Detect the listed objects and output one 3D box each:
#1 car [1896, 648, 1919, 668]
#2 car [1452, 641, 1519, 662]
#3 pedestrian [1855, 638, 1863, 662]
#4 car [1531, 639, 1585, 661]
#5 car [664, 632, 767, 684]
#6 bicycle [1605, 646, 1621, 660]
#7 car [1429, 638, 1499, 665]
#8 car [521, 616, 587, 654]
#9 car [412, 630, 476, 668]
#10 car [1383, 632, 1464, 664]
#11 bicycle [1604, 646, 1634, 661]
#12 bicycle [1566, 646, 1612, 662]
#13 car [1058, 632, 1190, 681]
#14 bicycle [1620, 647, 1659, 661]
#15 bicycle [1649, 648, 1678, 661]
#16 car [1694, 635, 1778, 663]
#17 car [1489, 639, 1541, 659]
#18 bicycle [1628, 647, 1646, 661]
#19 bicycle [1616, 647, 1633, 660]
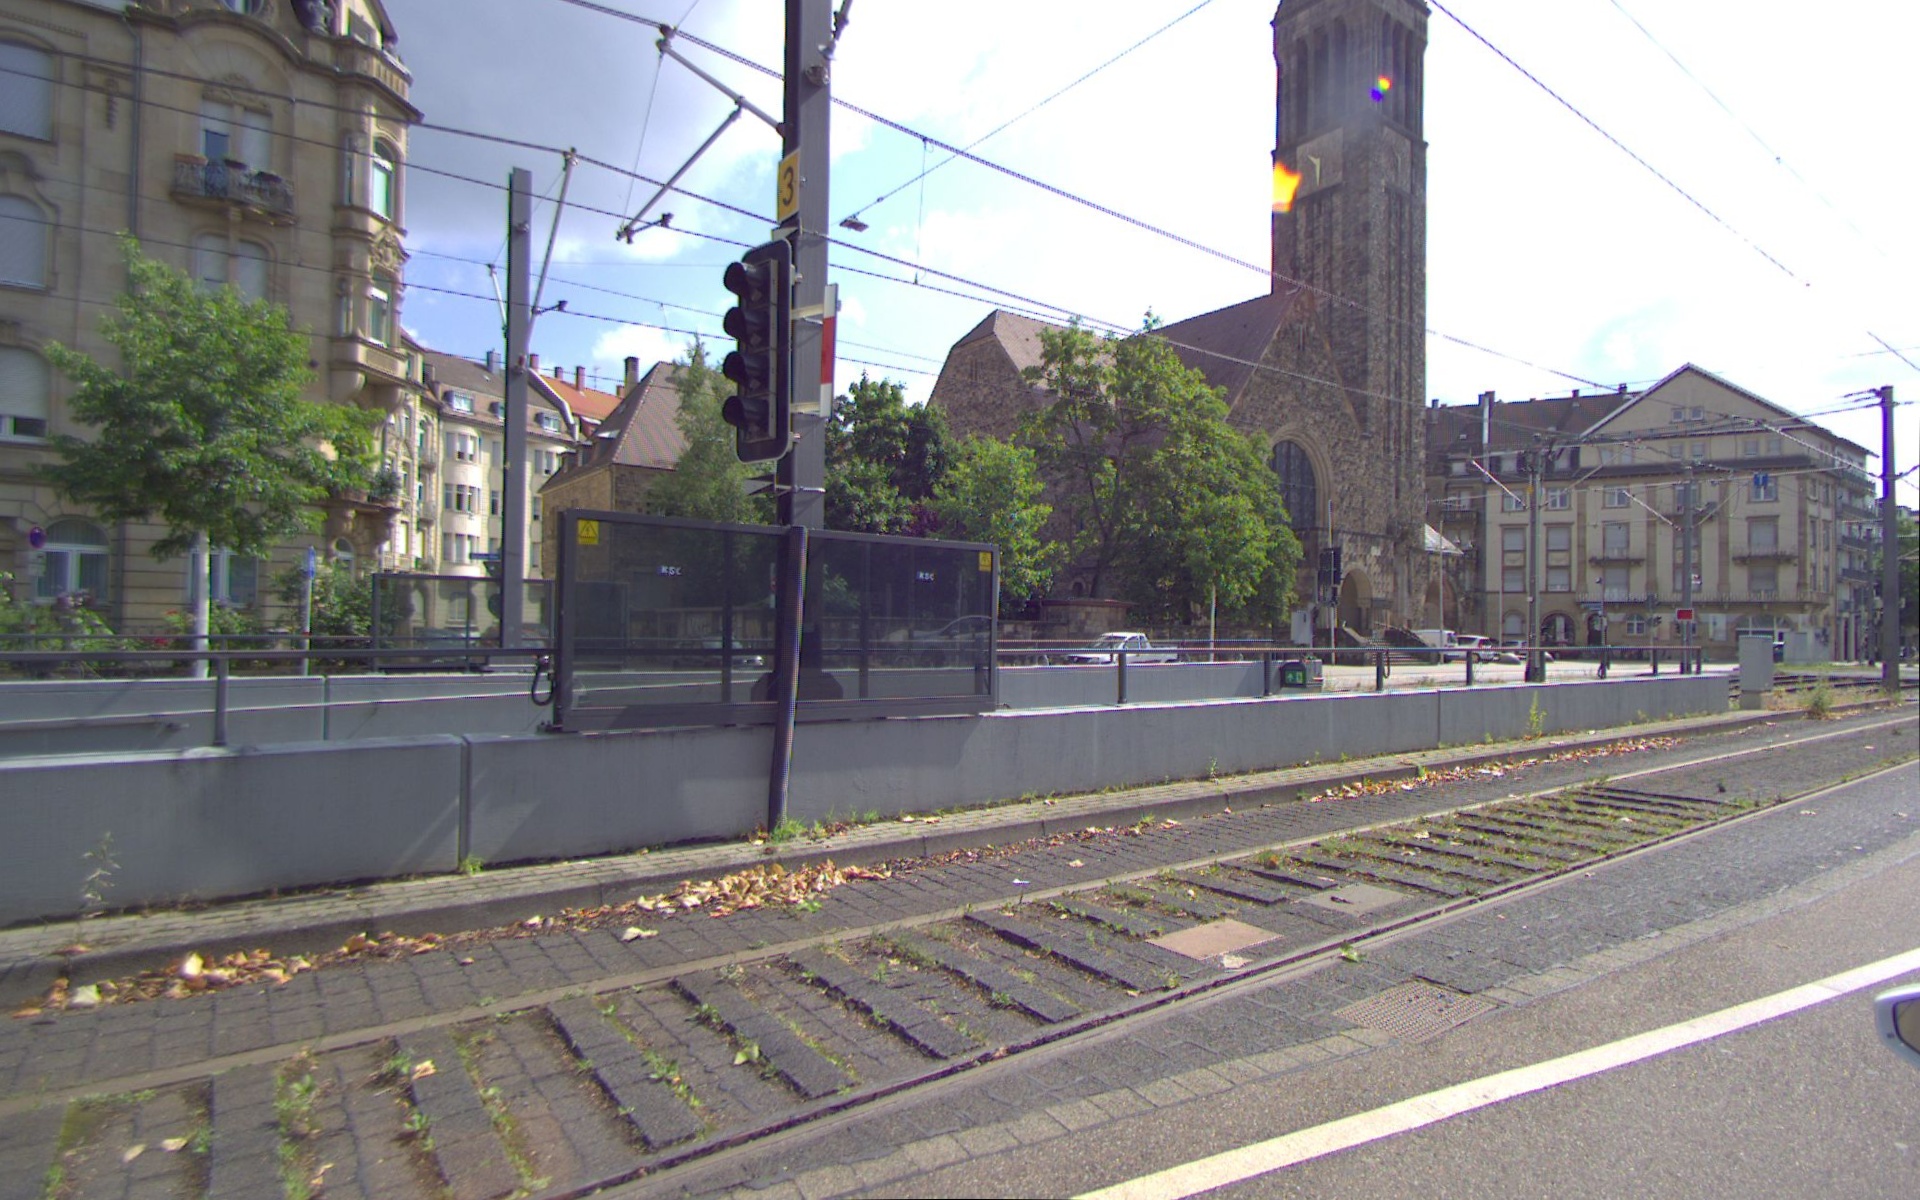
[{"bbox_3d":[100.402,6.102,105.783,3.963,2.040,1.979,2,-2,-37],"label":"car"},{"bbox_3d":[40.592,3.961,77.633,4.489,1.455,1.704,0,-2,30],"label":"car"},{"bbox_3d":[77.719,4.292,86.810,0.416,2.040,0.473,2,-2,-41],"label":"pedestrian"},{"bbox_3d":[49.945,4.157,84.003,1.962,1.696,3.999,1,-2,-4],"label":"car"},{"bbox_3d":[-7.601,1.755,31.002,1.707,1.483,3.935,2,-3,-36],"label":"car"},{"bbox_3d":[53.962,4.379,83.065,0.728,1.067,2.565,0,-2,24],"label":"bicycle"},{"bbox_3d":[29.730,3.003,59.261,1.838,1.522,3.241,2,-2,-38],"label":"car"},{"bbox_3d":[-18.971,1.636,46.899,1.916,1.692,3.752,2,-2,-38],"label":"car"},{"bbox_3d":[-18.961,1.785,36.853,1.490,1.330,3.204,2,-2,-38],"label":"car"},{"bbox_3d":[26.700,2.759,57.914,1.879,1.771,3.839,2,-2,-39],"label":"car"},{"bbox_3d":[52.948,4.302,80.742,1.937,1.129,0.487,0,-2,17],"label":"bicycle"},{"bbox_3d":[51.966,4.449,83.001,0.983,1.270,3.306,1,-2,-20],"label":"bicycle"},{"bbox_3d":[5.511,1.850,33.470,4.376,1.524,1.916,2,-2,-39],"label":"car"},{"bbox_3d":[54.652,4.355,80.772,2.518,1.067,0.682,0,-2,26],"label":"bicycle"},{"bbox_3d":[57.022,4.431,81.408,2.531,1.067,0.801,2,-2,-25],"label":"bicycle"},{"bbox_3d":[58.179,3.669,75.428,4.718,2.040,1.997,0,-2,28],"label":"car"},{"bbox_3d":[47.362,4.185,85.765,1.771,1.661,3.992,1,-2,-12],"label":"car"},{"bbox_3d":[55.437,4.409,82.313,0.790,1.067,2.565,0,-2,24],"label":"bicycle"},{"bbox_3d":[54.675,4.393,82.676,0.790,1.067,2.565,0,-2,24],"label":"bicycle"}]
